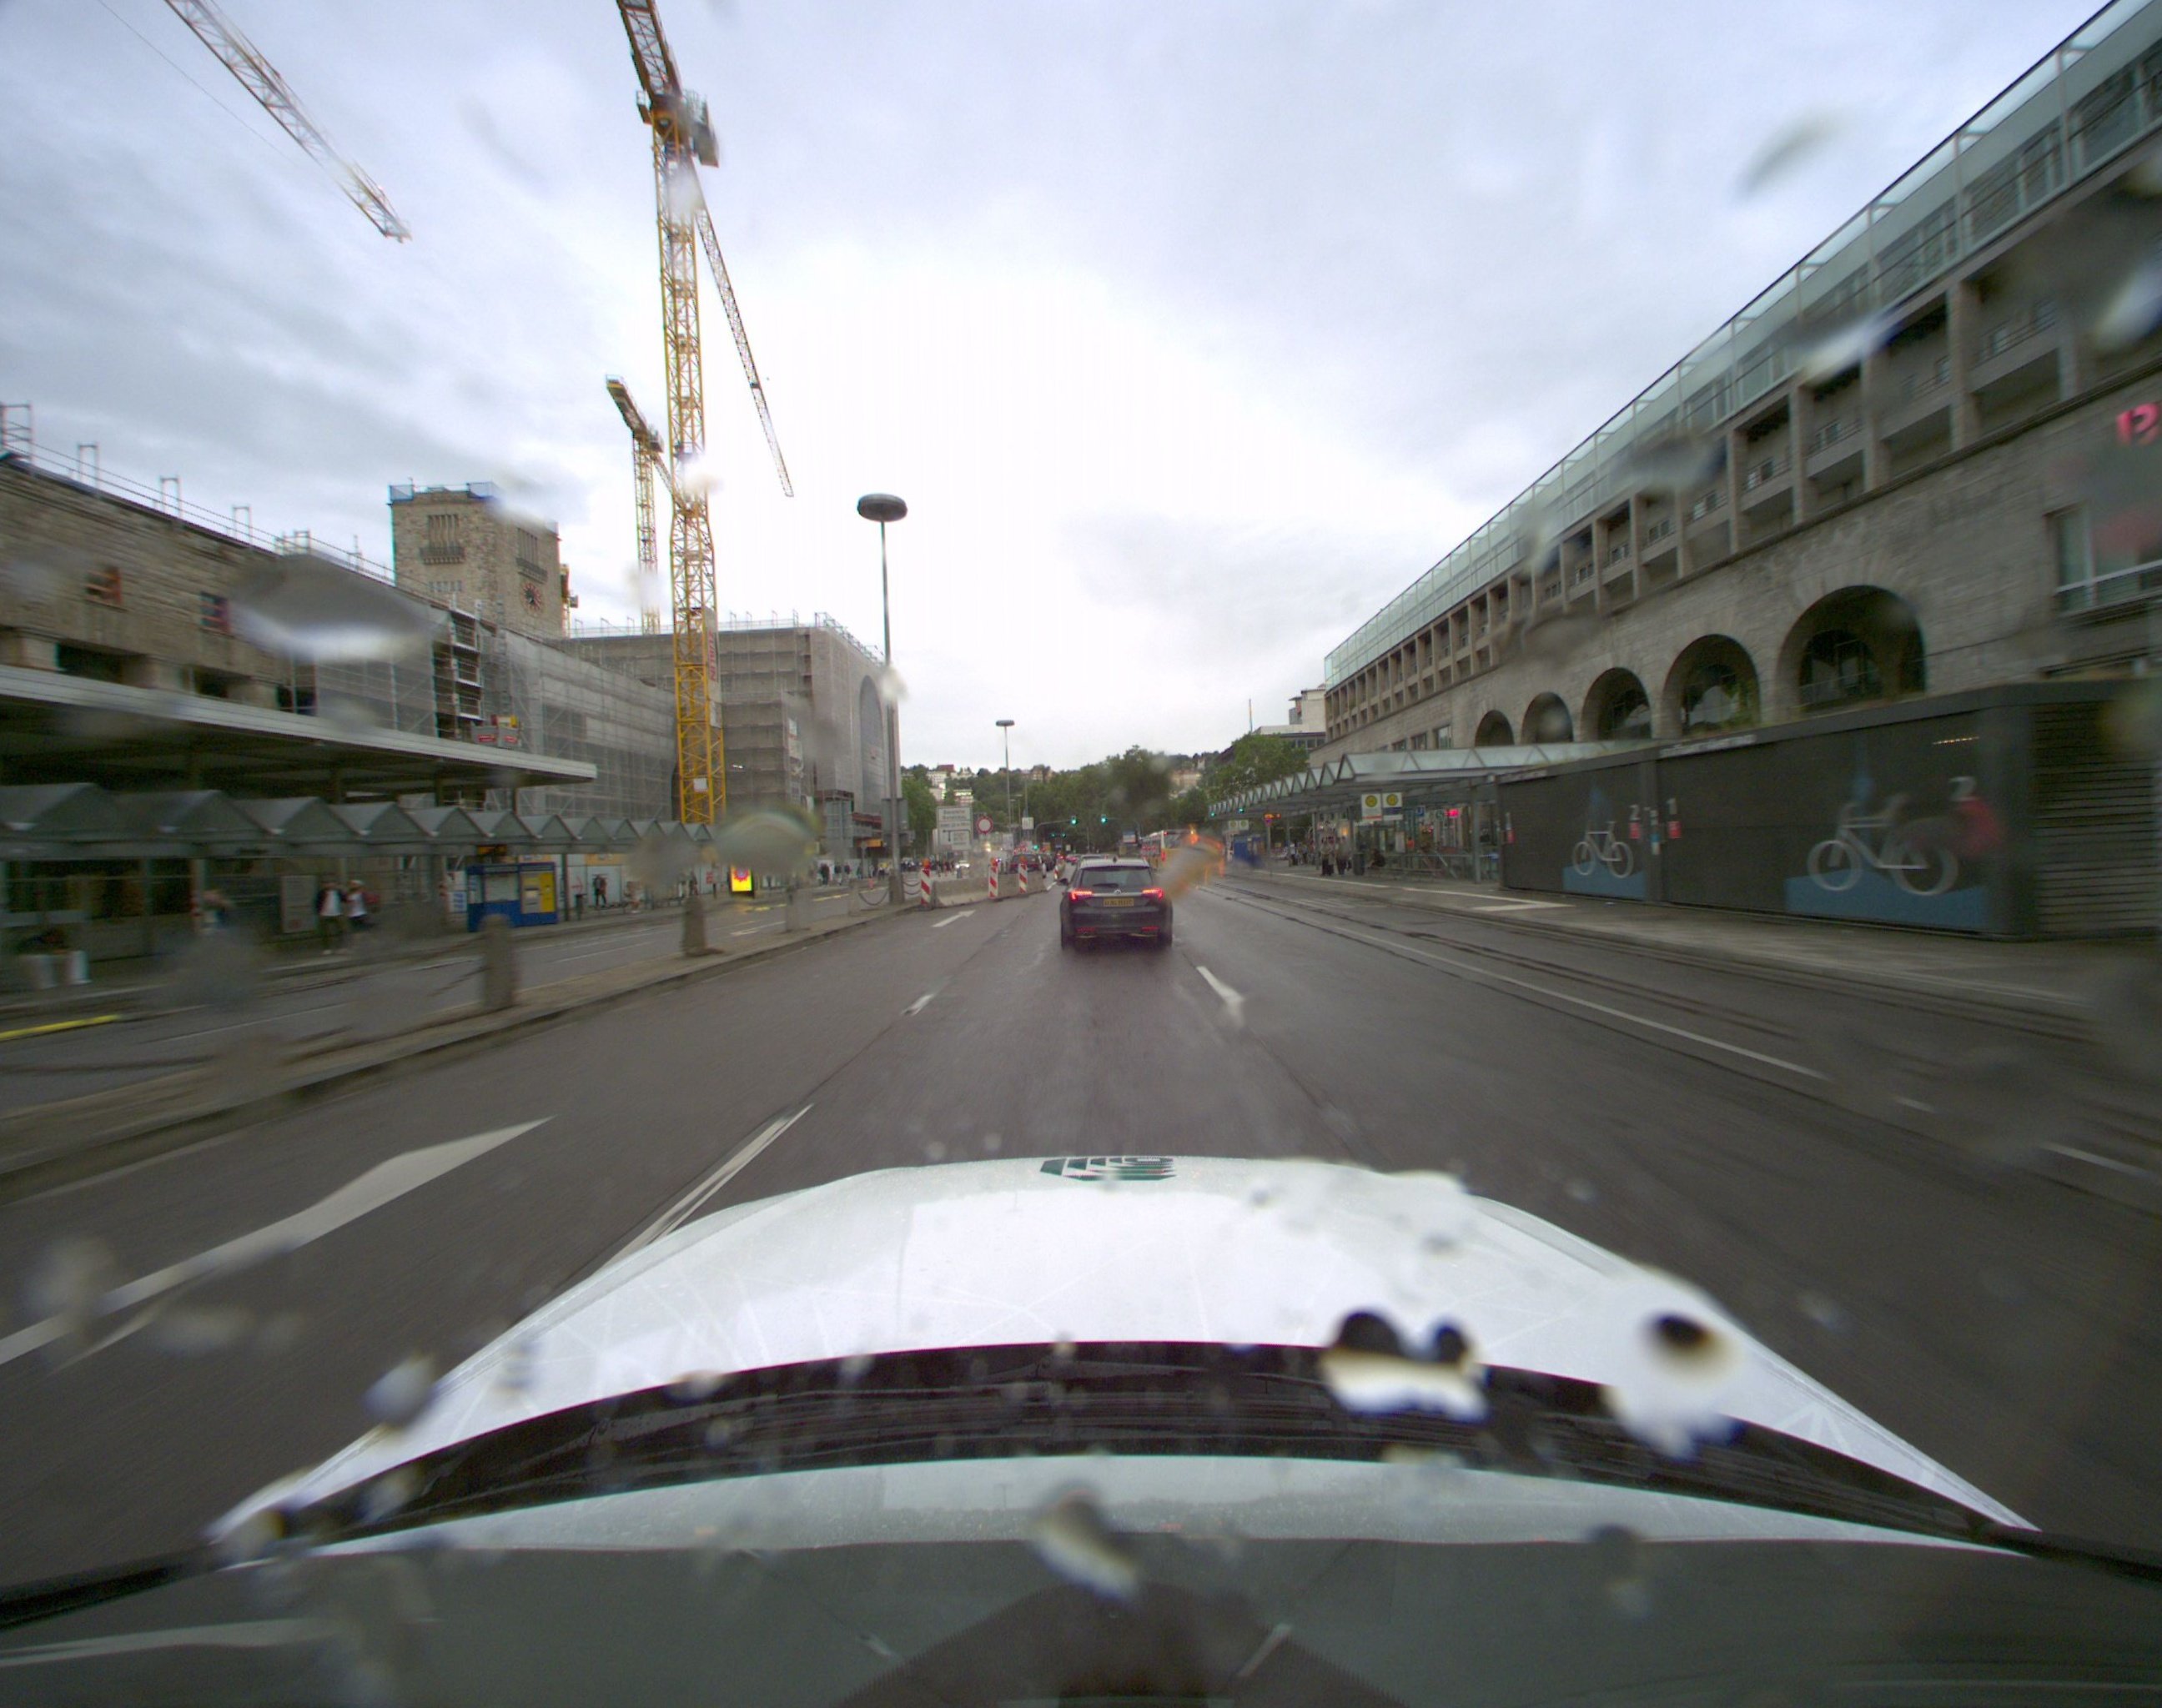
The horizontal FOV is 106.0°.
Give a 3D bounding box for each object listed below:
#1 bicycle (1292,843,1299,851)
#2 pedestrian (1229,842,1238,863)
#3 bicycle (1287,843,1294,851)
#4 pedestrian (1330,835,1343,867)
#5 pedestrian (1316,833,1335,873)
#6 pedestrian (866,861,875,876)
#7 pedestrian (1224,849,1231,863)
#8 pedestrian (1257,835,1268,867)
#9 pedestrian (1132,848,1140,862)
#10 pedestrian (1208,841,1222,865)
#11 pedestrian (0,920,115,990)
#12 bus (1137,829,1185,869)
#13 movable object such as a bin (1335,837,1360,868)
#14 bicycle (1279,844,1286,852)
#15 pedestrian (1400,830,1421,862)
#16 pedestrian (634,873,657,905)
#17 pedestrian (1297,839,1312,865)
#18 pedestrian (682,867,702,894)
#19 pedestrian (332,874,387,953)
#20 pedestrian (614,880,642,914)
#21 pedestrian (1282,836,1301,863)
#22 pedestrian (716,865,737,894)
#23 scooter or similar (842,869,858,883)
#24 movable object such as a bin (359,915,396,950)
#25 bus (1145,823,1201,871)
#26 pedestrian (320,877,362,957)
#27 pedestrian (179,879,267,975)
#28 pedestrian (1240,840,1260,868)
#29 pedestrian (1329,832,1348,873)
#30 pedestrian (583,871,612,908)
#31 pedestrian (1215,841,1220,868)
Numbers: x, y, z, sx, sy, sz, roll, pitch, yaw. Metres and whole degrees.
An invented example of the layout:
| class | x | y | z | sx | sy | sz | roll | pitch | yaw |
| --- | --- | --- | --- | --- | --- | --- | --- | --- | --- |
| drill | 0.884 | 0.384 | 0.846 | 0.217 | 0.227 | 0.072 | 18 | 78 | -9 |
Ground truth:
| class | x | y | z | sx | sy | sz | roll | pitch | yaw |
| --- | --- | --- | --- | --- | --- | --- | --- | --- | --- |
| bicycle | 29.839 | -0.999 | 113.275 | 0.612 | 1.025 | 2.000 | -4 | 0 | 7 |
| pedestrian | 12.495 | -0.100 | 66.842 | 0.606 | 1.723 | 0.592 | -2 | 0 | 4 |
| bicycle | 29.099 | -0.913 | 113.293 | 0.612 | 1.055 | 2.000 | -4 | 0 | 7 |
| pedestrian | 14.988 | -0.175 | 47.806 | 0.603 | 1.859 | 0.627 | -2 | 0 | 9 |
| pedestrian | 11.533 | -0.046 | 38.457 | 0.673 | 1.836 | 0.574 | -2 | 0 | 2 |
| pedestrian | -22.442 | 1.521 | 86.749 | 0.673 | 1.613 | 0.839 | -2 | 0 | 2 |
| pedestrian | 13.449 | 0.182 | 74.612 | 0.512 | 1.232 | 0.771 | -3 | 0 | 3 |
| pedestrian | 12.737 | -0.237 | 57.291 | 0.588 | 2.215 | 0.587 | -2 | 0 | 2 |
| pedestrian | 7.562 | 0.164 | 112.571 | 0.788 | 1.838 | 0.945 | -3 | 0 | -15 |
| pedestrian | 10.744 | -0.098 | 65.289 | 0.977 | 1.836 | 0.839 | -2 | 0 | 16 |
| pedestrian | -19.308 | 1.884 | 15.334 | 0.946 | 1.158 | 1.055 | -2 | 0 | 0 |
| bus | 6.790 | -0.359 | 70.517 | 3.104 | 3.205 | 9.239 | -1 | 0 | -1 |
| movable object such as a bin | 14.273 | -0.067 | 43.631 | 0.665 | 1.652 | 1.040 | -2 | 0 | -23 |
| bicycle | 27.983 | -0.886 | 113.267 | 0.612 | 1.102 | 2.029 | -4 | 0 | 7 |
| pedestrian | 19.288 | -0.442 | 47.647 | 0.764 | 1.831 | 0.746 | -2 | 0 | -29 |
| pedestrian | -22.937 | 1.841 | 42.874 | 0.800 | 1.608 | 0.701 | -2 | 0 | -1 |
| pedestrian | 15.014 | -0.146 | 54.693 | 0.745 | 1.695 | 0.902 | -2 | 0 | 3 |
| pedestrian | -22.997 | 1.571 | 48.122 | 0.801 | 1.547 | 0.700 | -2 | 0 | -5 |
| pedestrian | -17.082 | 1.387 | 19.296 | 0.785 | 1.790 | 0.666 | -2 | 0 | -27 |
| pedestrian | -18.706 | 1.756 | 33.646 | 0.697 | 1.326 | 0.805 | -2 | 0 | -1 |
| pedestrian | 15.023 | -0.321 | 58.037 | 0.791 | 1.804 | 0.983 | -3 | 0 | -28 |
| pedestrian | -23.017 | 1.628 | 52.871 | 0.854 | 1.841 | 1.045 | -1 | 0 | 0 |
| scooter or similar | -18.252 | 1.762 | 64.357 | 0.454 | 1.066 | 1.248 | -2 | 0 | 35 |
| movable object such as a bin | -17.458 | 1.937 | 20.206 | 0.638 | 0.789 | 0.505 | -3 | -1 | -45 |
| bus | 6.786 | -0.446 | 61.350 | 3.131 | 3.247 | 9.134 | -1 | 0 | 0 |
| pedestrian | -17.875 | 1.501 | 19.671 | 0.682 | 1.848 | 0.551 | -2 | 0 | -44 |
| pedestrian | -16.921 | 1.415 | 16.084 | 0.771 | 1.790 | 0.862 | -2 | 0 | 7 |
| pedestrian | 10.362 | -0.019 | 49.958 | 0.762 | 1.690 | 0.992 | -2 | 0 | -21 |
| pedestrian | 11.765 | -0.078 | 37.256 | 0.625 | 1.836 | 0.642 | -2 | 0 | 2 |
| pedestrian | -23.455 | 1.717 | 39.514 | 0.875 | 1.700 | 0.836 | -2 | 0 | -1 |
| pedestrian | 9.344 | 0.004 | 55.770 | 0.242 | 1.836 | 0.512 | -2 | 0 | 4 |
